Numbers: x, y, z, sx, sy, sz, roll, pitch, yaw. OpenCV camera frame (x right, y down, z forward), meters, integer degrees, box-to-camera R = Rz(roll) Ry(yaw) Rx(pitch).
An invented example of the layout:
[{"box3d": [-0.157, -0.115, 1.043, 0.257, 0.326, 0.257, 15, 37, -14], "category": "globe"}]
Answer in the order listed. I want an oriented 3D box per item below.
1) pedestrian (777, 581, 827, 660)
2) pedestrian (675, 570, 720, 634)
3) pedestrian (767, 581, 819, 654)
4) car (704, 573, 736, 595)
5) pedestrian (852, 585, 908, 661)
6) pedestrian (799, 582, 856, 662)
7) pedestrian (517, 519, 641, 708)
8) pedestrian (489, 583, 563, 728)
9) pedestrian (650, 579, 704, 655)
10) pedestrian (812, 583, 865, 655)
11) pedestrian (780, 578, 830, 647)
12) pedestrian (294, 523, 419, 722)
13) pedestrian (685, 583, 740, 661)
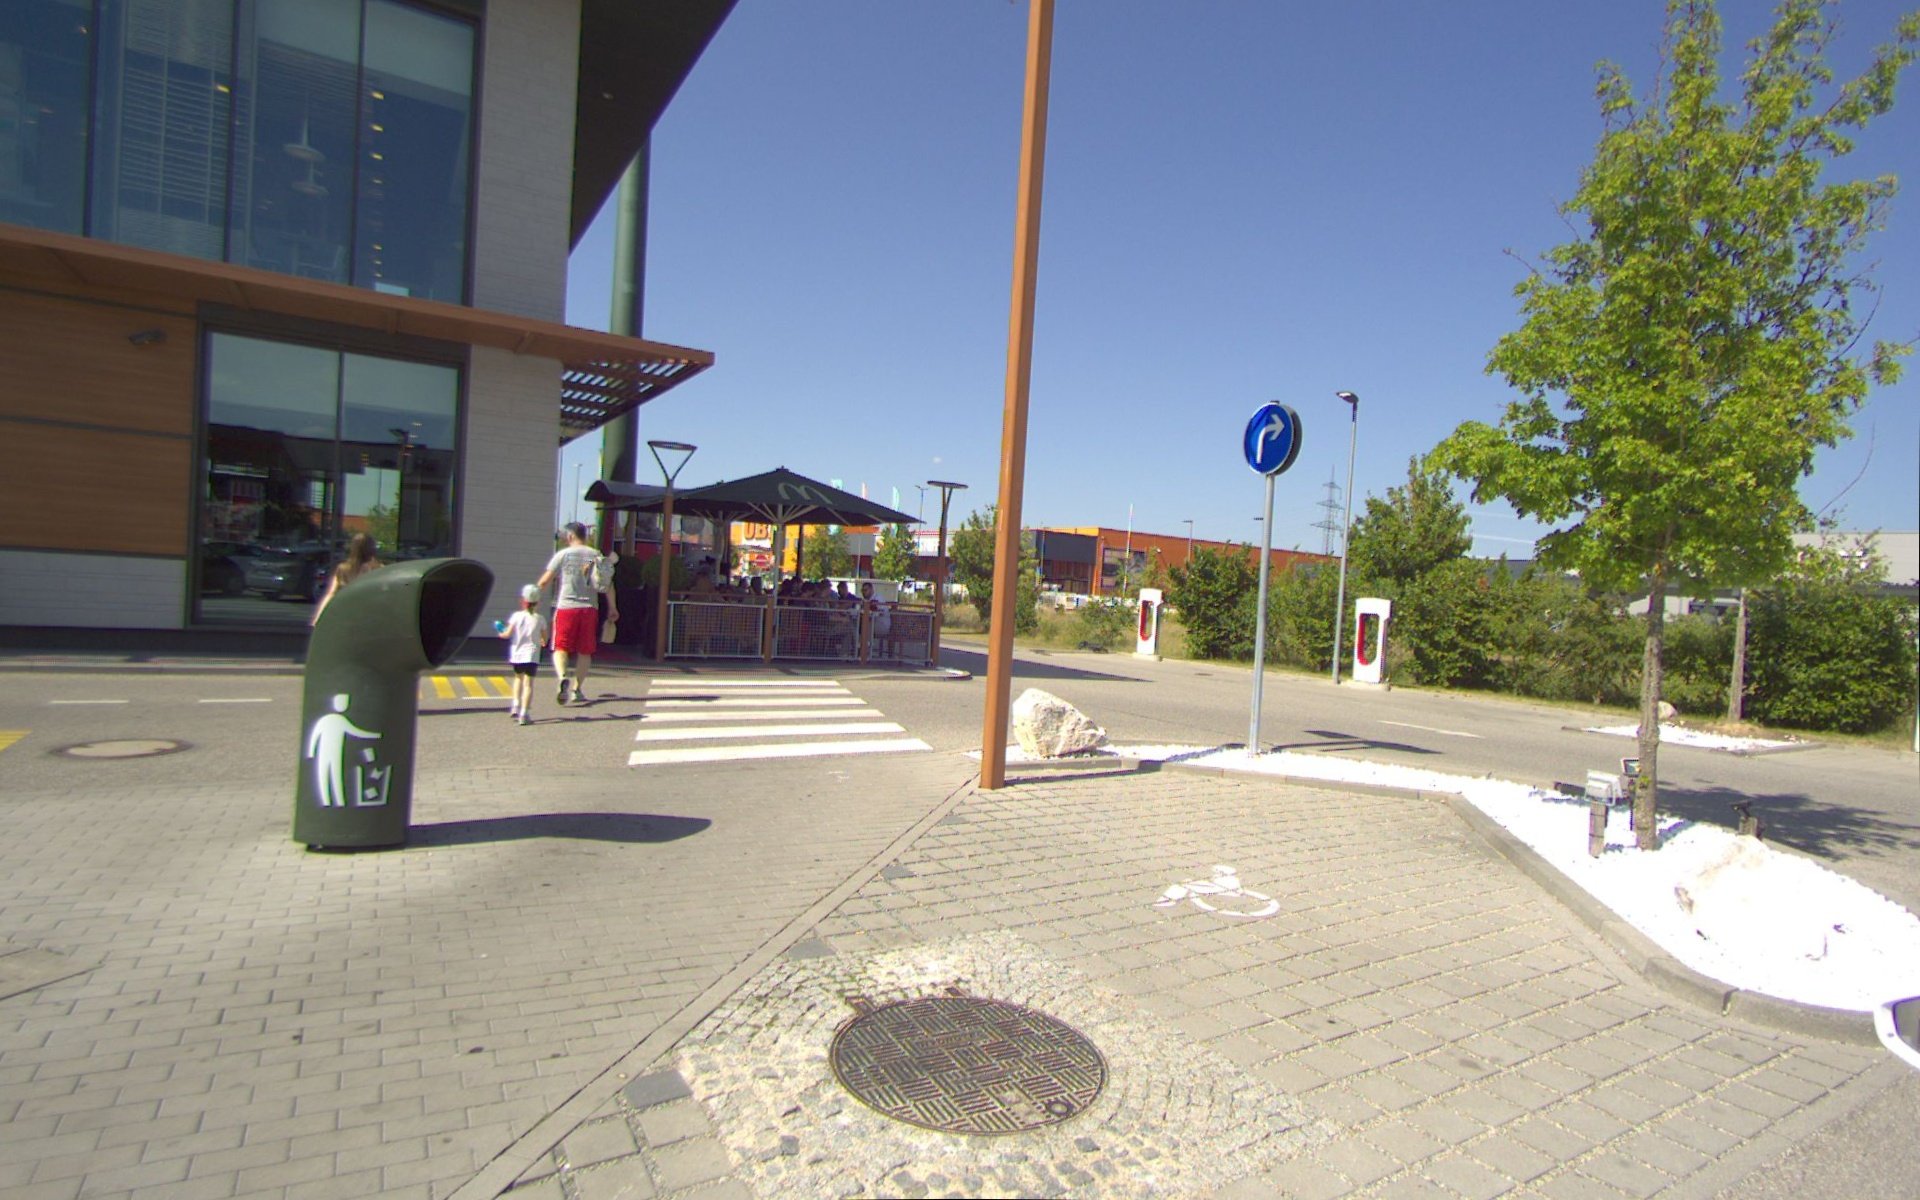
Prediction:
[{"box3d": [-2.662, 0.342, 16.905, 0.628, 1.274, 0.519, 2, 1, -35], "category": "pedestrian"}, {"box3d": [-4.709, 0.029, 18.020, 0.567, 1.115, 0.650, 3, 1, -32], "category": "pedestrian"}, {"box3d": [-2.996, 0.316, 18.024, 0.709, 1.274, 0.519, 2, 1, -35], "category": "pedestrian"}, {"box3d": [-24.047, -1.655, 100.689, 1.977, 2.040, 3.966, 4, 0, -31], "category": "car"}, {"box3d": [-1.374, 0.398, 17.337, 0.723, 1.274, 0.567, 2, 1, -36], "category": "pedestrian"}, {"box3d": [-2.169, 0.363, 16.455, 0.709, 1.274, 0.519, 2, 1, -35], "category": "pedestrian"}, {"box3d": [-3.818, 0.130, 10.068, 0.889, 1.791, 0.794, 2, 1, -40], "category": "pedestrian"}, {"box3d": [-3.758, 0.468, 8.684, 0.444, 1.202, 0.486, 2, 1, -37], "category": "pedestrian"}, {"box3d": [-4.406, 0.265, 15.632, 0.628, 1.139, 0.519, 2, 1, -35], "category": "pedestrian"}, {"box3d": [-2.240, 0.350, 18.504, 0.723, 1.274, 0.567, 2, 1, -36], "category": "pedestrian"}, {"box3d": [-2.982, 0.244, 19.273, 0.723, 1.274, 0.567, 2, 1, -36], "category": "pedestrian"}, {"box3d": [-5.115, 0.192, 8.561, 0.730, 1.605, 0.725, 3, 1, -21], "category": "pedestrian"}, {"box3d": [-3.742, 0.325, 15.193, 0.628, 1.139, 0.519, 2, 1, -35], "category": "pedestrian"}]
